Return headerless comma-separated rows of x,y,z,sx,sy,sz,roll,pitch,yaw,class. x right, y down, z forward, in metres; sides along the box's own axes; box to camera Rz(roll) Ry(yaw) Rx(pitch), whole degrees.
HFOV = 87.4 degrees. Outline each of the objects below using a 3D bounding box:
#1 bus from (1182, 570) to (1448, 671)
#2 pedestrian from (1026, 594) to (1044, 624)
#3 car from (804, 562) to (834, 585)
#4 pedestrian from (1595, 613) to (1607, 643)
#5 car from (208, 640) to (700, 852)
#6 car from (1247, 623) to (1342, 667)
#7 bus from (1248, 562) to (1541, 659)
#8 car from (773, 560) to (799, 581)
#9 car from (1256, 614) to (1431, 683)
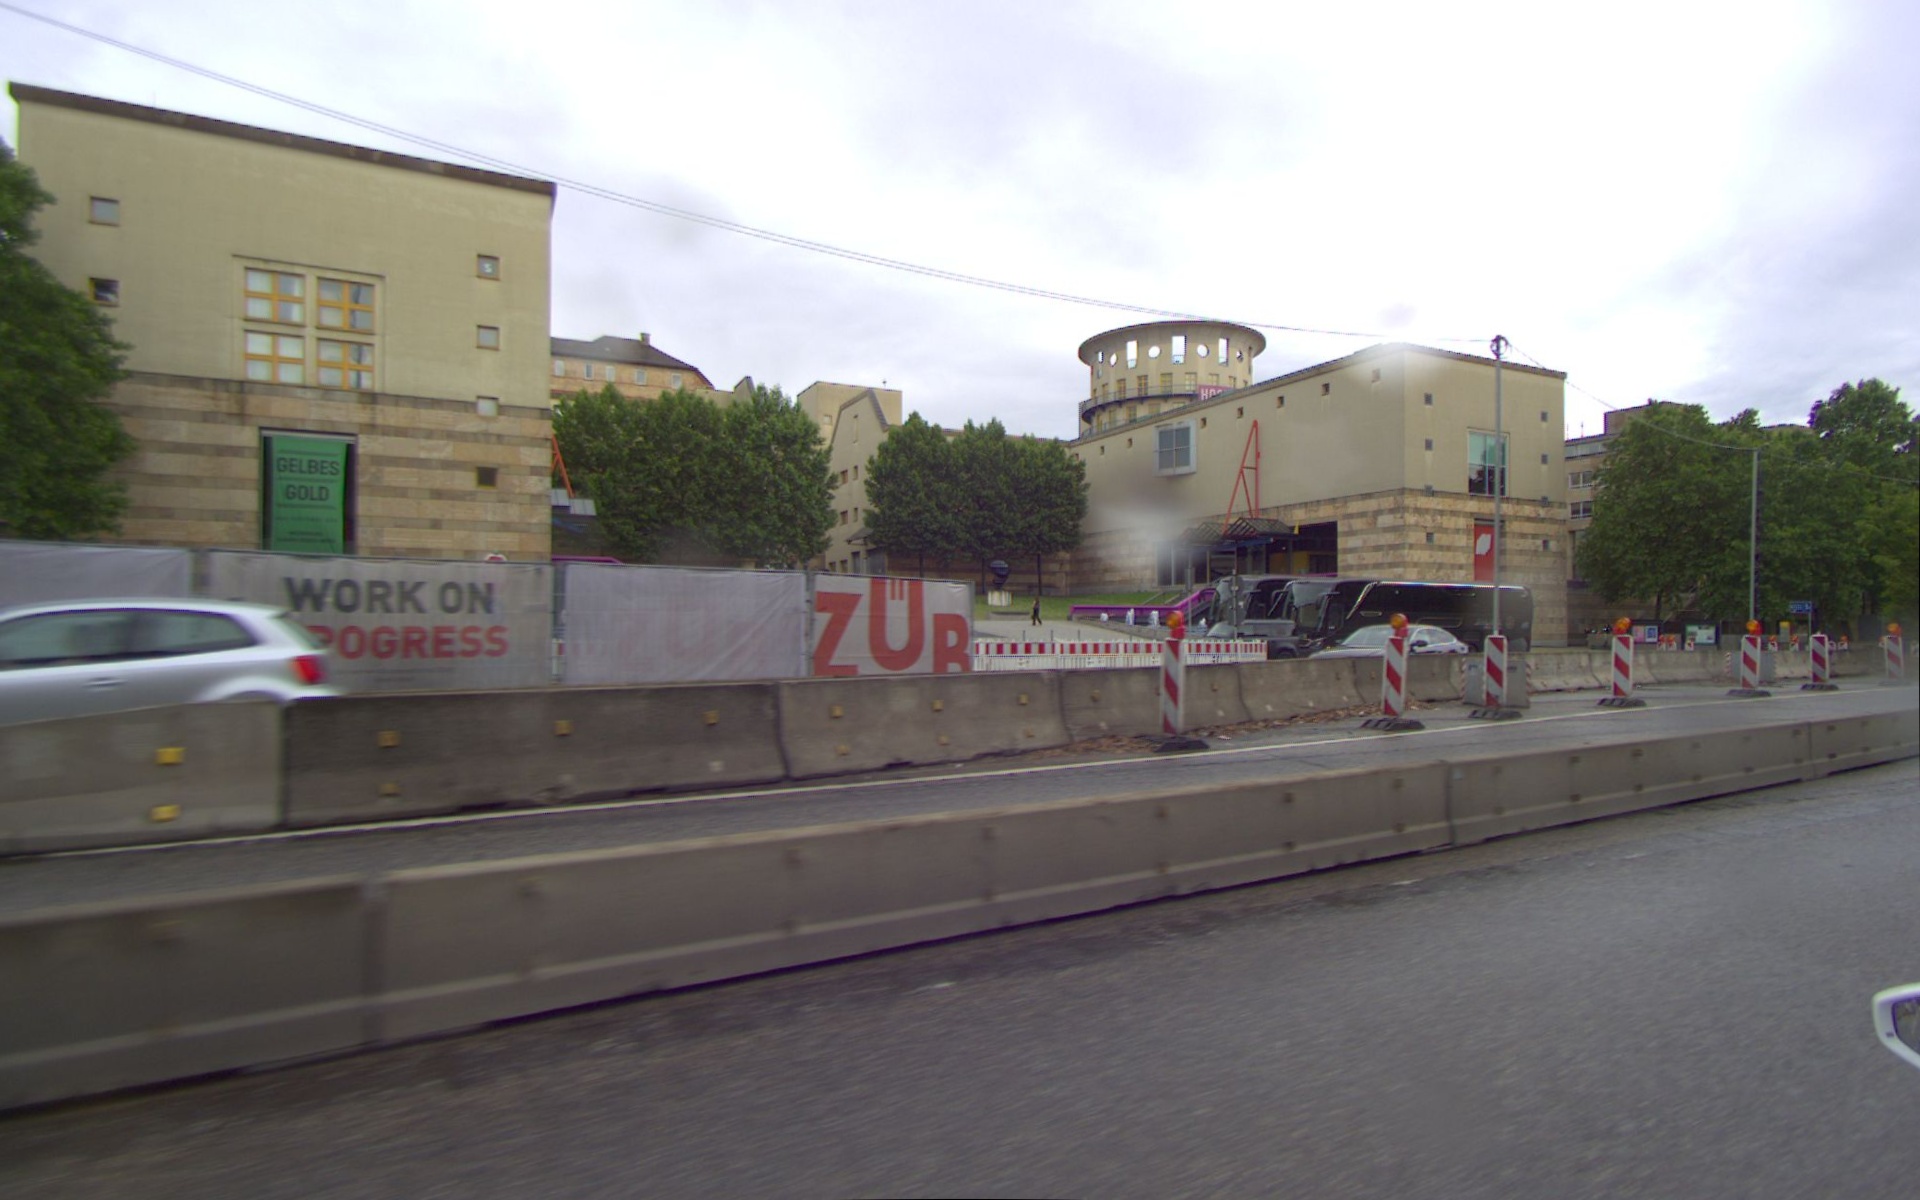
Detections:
16.780,0.938,47.026,13.308,4.309,3.110,1,1,-25,bus
4.389,0.517,58.496,0.935,1.738,0.684,1,0,13,pedestrian
-14.416,-2.706,102.666,1.974,2.040,3.975,2,-3,-26,car
44.603,1.950,69.853,0.505,2.040,0.476,2,-3,-27,pedestrian
-4.789,1.212,9.773,3.961,1.550,1.980,1,-1,-36,car
12.178,1.629,36.545,3.177,1.520,1.584,1,-3,-31,car
19.251,0.485,43.942,14.394,3.862,2.796,1,1,-24,bus
-19.945,-3.326,114.818,1.973,2.040,3.976,2,-3,-25,car
8.501,0.992,22.027,4.735,1.279,1.756,0,1,-44,car
